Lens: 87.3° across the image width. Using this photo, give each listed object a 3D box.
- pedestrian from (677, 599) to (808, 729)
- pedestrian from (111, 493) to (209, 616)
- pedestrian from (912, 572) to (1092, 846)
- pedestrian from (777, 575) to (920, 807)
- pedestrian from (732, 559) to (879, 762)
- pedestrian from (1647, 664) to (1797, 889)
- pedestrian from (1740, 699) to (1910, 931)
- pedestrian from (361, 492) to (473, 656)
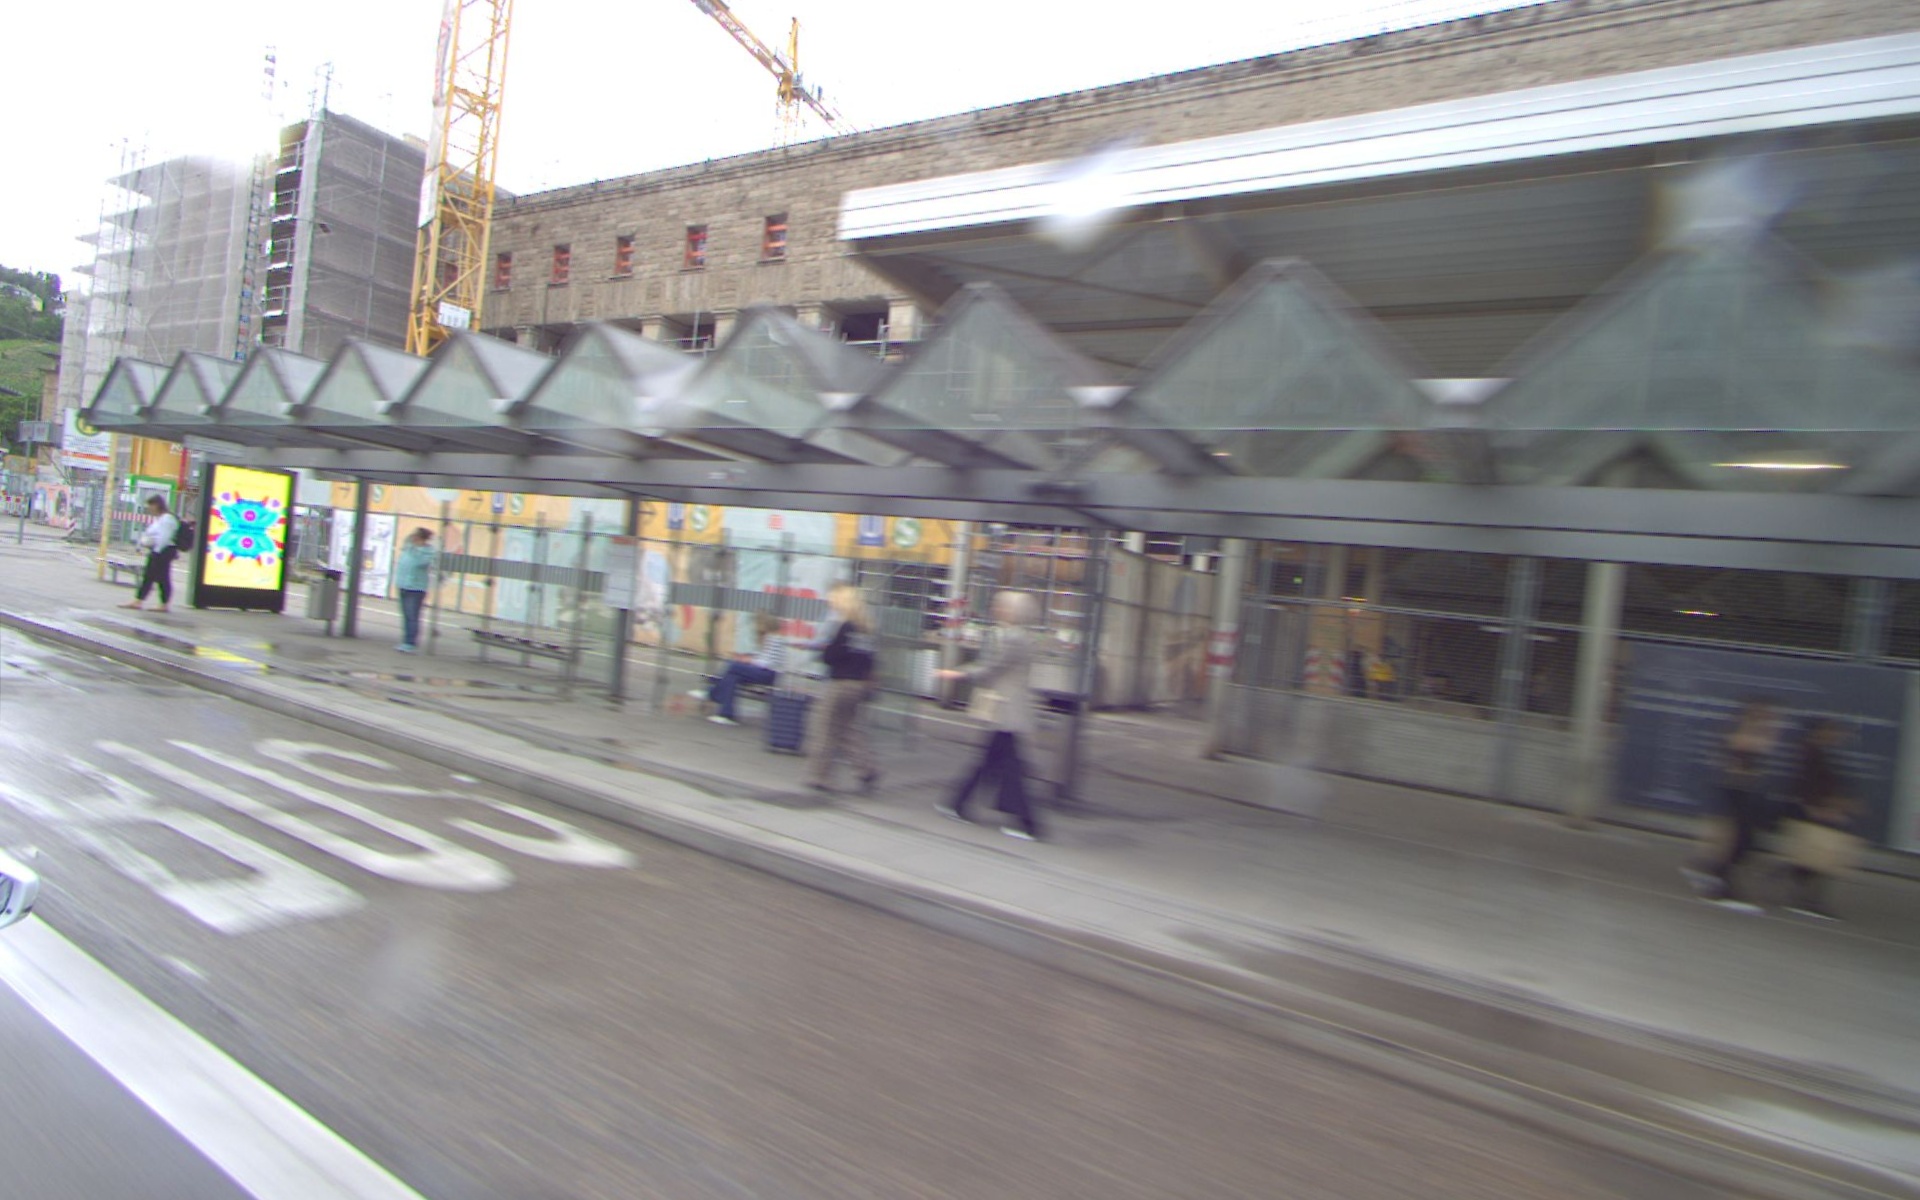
[{"bbox_3d":[-2.337,0.695,10.860,0.826,1.245,0.915,8,-1,31],"label":"pedestrian"},{"bbox_3d":[-11.808,-0.655,14.868,0.709,1.701,0.703,7,1,5],"label":"pedestrian"},{"bbox_3d":[0.303,0.728,7.046,0.808,1.714,0.763,7,1,31],"label":"pedestrian"},{"bbox_3d":[-0.830,0.654,7.497,0.716,1.586,0.521,7,1,31],"label":"pedestrian"},{"bbox_3d":[-1.391,0.542,9.118,0.791,1.680,0.809,7,0,31],"label":"pedestrian"},{"bbox_3d":[6.112,1.373,8.117,0.717,1.628,0.707,7,2,31],"label":"pedestrian"},{"bbox_3d":[6.889,1.662,8.068,0.732,1.626,0.907,8,0,32],"label":"pedestrian"},{"bbox_3d":[-7.463,-0.340,13.875,0.911,2.075,0.803,7,0,-9],"label":"pedestrian"}]
